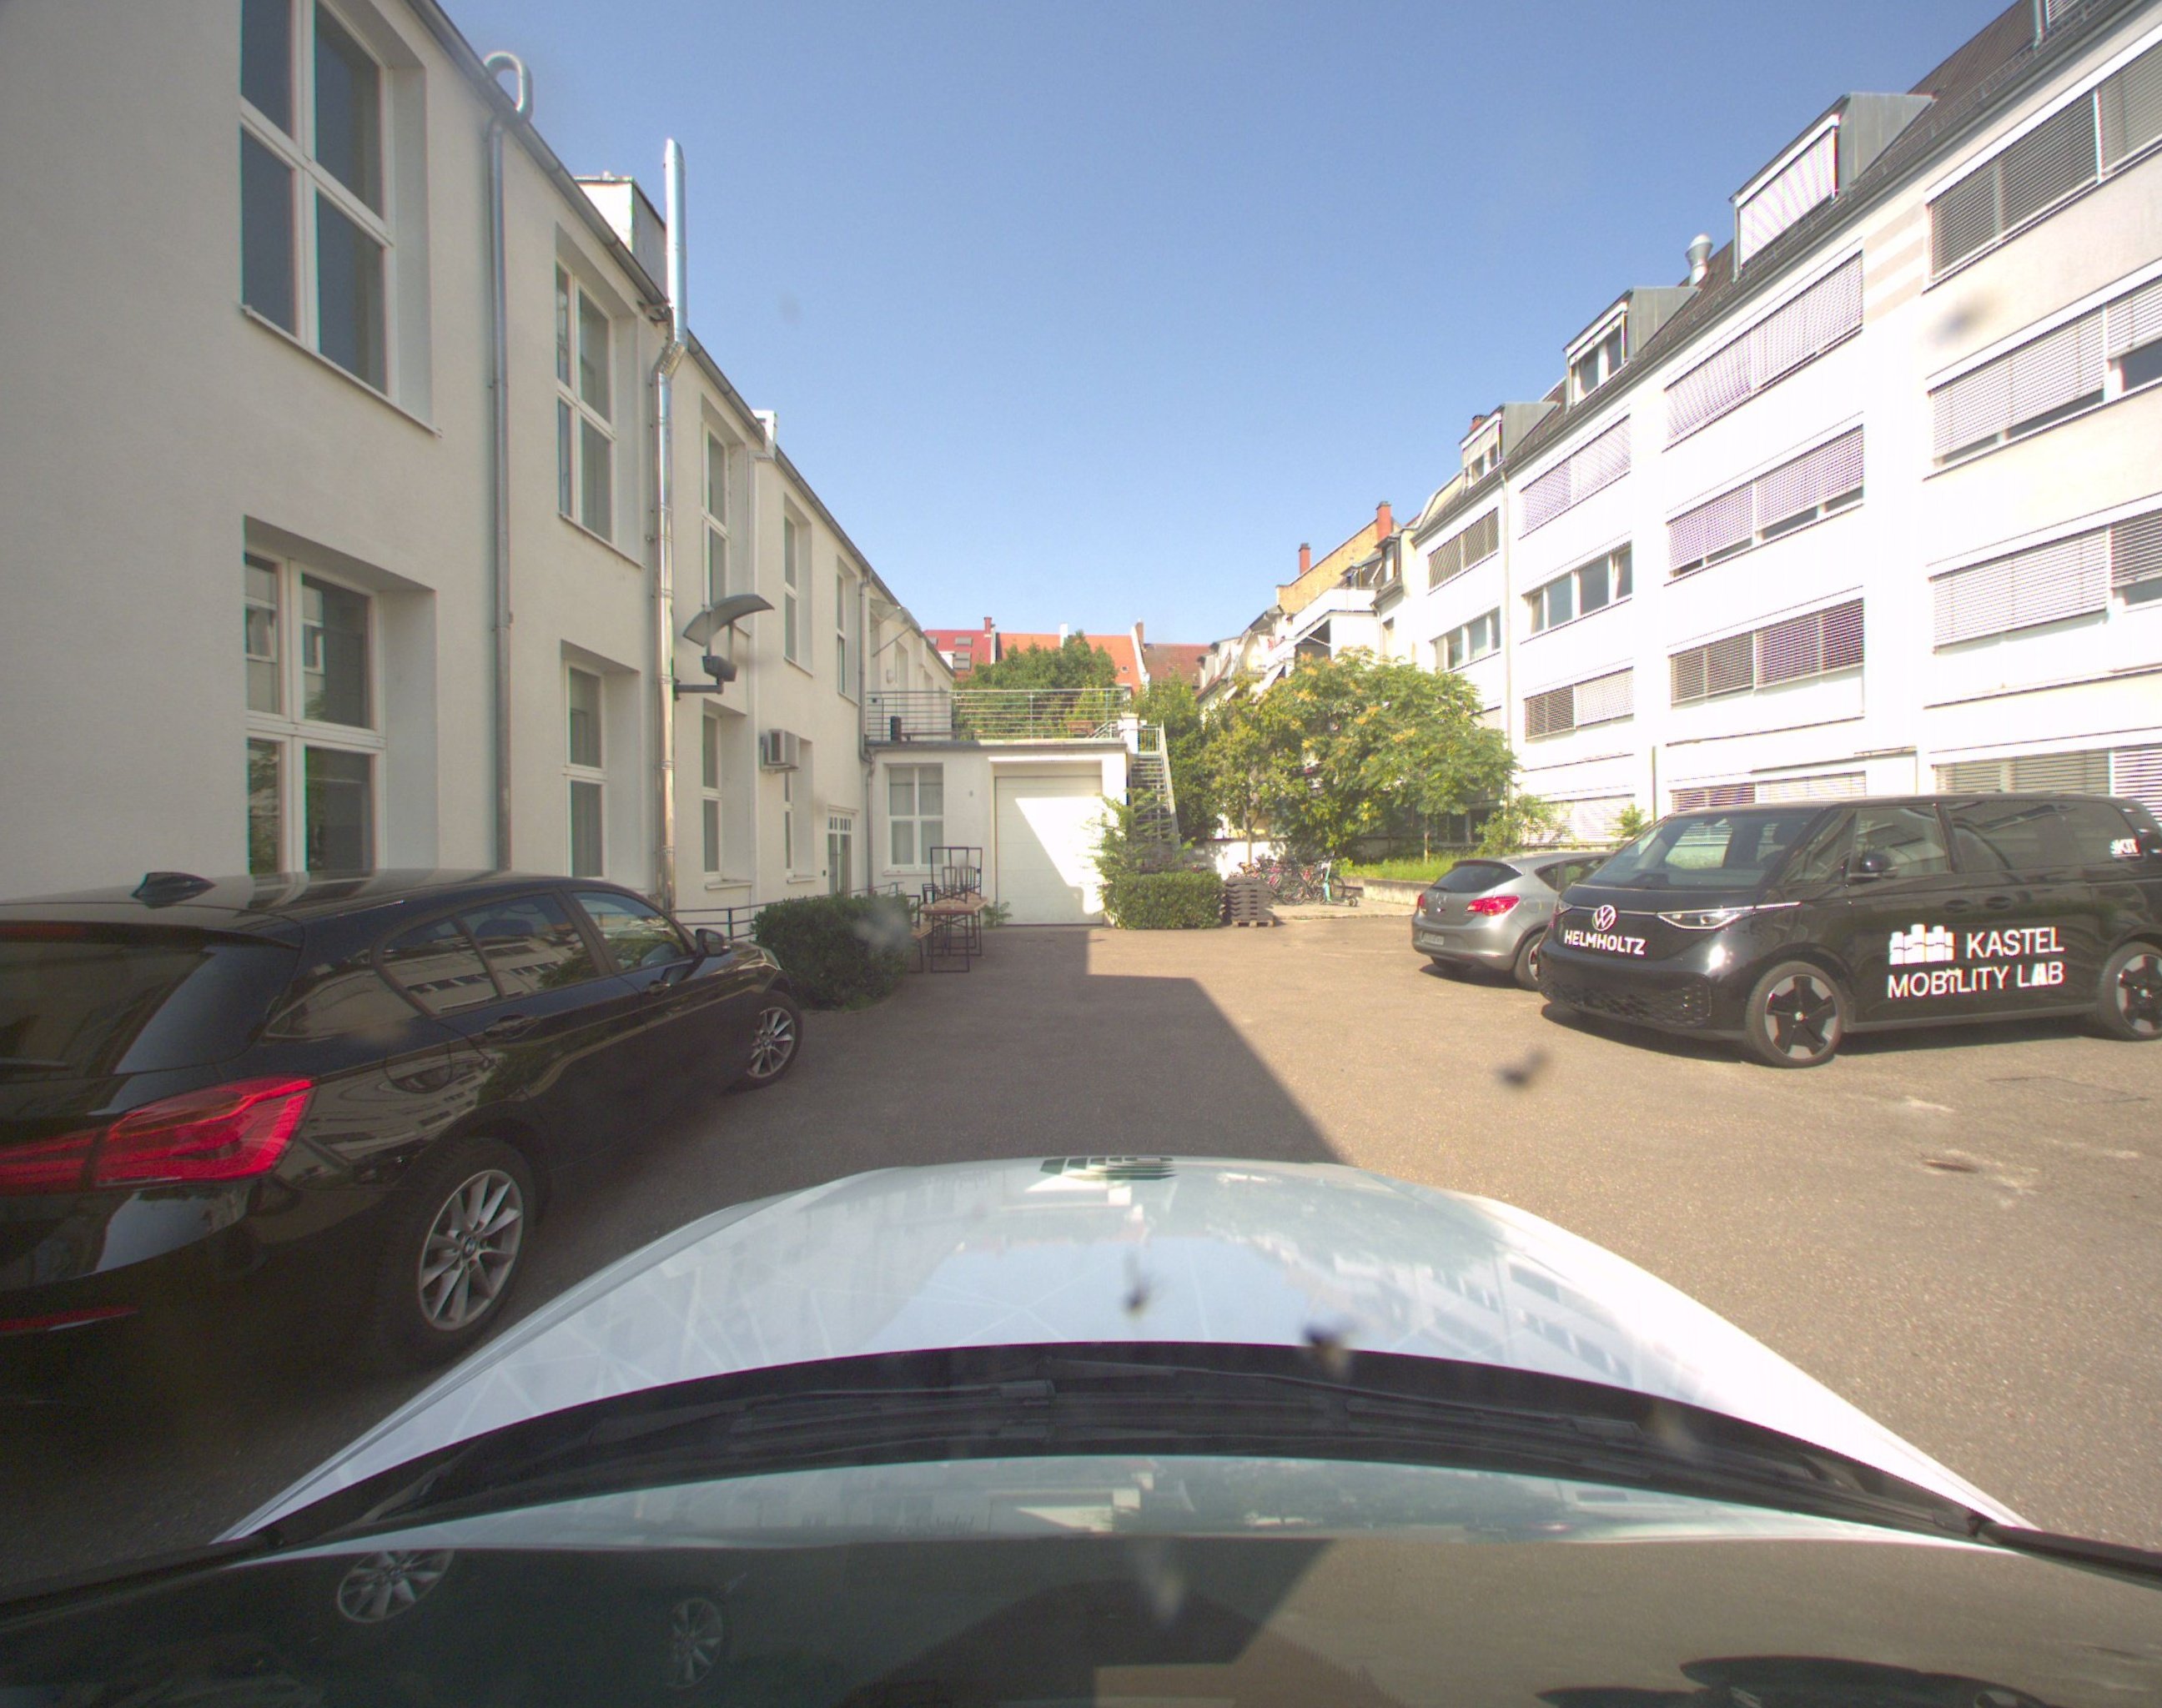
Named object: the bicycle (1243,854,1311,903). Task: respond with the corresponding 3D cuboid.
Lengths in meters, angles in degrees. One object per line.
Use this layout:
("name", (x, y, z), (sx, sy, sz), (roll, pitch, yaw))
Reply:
("bicycle", (5.008, 0.620, 20.848), (1.617, 1.214, 0.327), (-2, 0, 2))

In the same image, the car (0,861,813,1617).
("car", (-2.642, 0.772, 3.538), (1.683, 1.459, 3.921), (0, 0, -1))

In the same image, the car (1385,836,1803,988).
("car", (5.858, 0.601, 9.538), (3.931, 1.482, 1.769), (-1, -1, -9))

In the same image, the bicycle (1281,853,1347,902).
("bicycle", (6.050, 0.613, 21.195), (1.611, 1.214, 0.328), (-2, 0, 15))

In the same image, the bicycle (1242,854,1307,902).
("bicycle", (5.051, 0.622, 21.299), (1.613, 1.214, 0.328), (-2, 0, 10))

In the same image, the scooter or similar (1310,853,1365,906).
("scooter or similar", (6.285, 0.610, 19.983), (0.381, 1.261, 1.335), (-2, 0, -31))

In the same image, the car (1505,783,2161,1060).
("car", (6.143, 0.423, 6.652), (4.499, 1.794, 1.877), (-1, -1, -9))

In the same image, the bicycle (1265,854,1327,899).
("bicycle", (5.952, 0.622, 22.632), (1.612, 1.214, 0.425), (-2, 0, 13))

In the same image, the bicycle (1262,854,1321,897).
("bicycle", (6.111, 0.627, 23.658), (1.612, 1.214, 0.425), (-2, 0, 13))

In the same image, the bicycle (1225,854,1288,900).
("bicycle", (4.802, 0.631, 22.341), (1.618, 1.214, 0.424), (-2, 0, -1))

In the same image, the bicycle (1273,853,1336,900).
("bicycle", (6.037, 0.619, 22.057), (1.611, 1.214, 0.425), (-2, 0, 13))

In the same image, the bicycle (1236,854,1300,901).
("bicycle", (4.979, 0.625, 21.663), (1.611, 1.214, 0.328), (-2, 0, 13))

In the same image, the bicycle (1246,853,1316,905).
("bicycle", (4.961, 0.617, 20.233), (1.617, 1.214, 0.327), (-2, 0, 2))

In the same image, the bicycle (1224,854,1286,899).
("bicycle", (4.896, 0.634, 22.975), (1.620, 1.214, 0.423), (-2, 0, -5))

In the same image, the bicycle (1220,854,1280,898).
("bicycle", (4.901, 0.637, 23.577), (1.620, 1.214, 0.423), (-2, 0, -5))

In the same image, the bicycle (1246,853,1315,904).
("bicycle", (5.033, 0.619, 20.554), (1.617, 1.214, 0.327), (-2, 0, 2))
